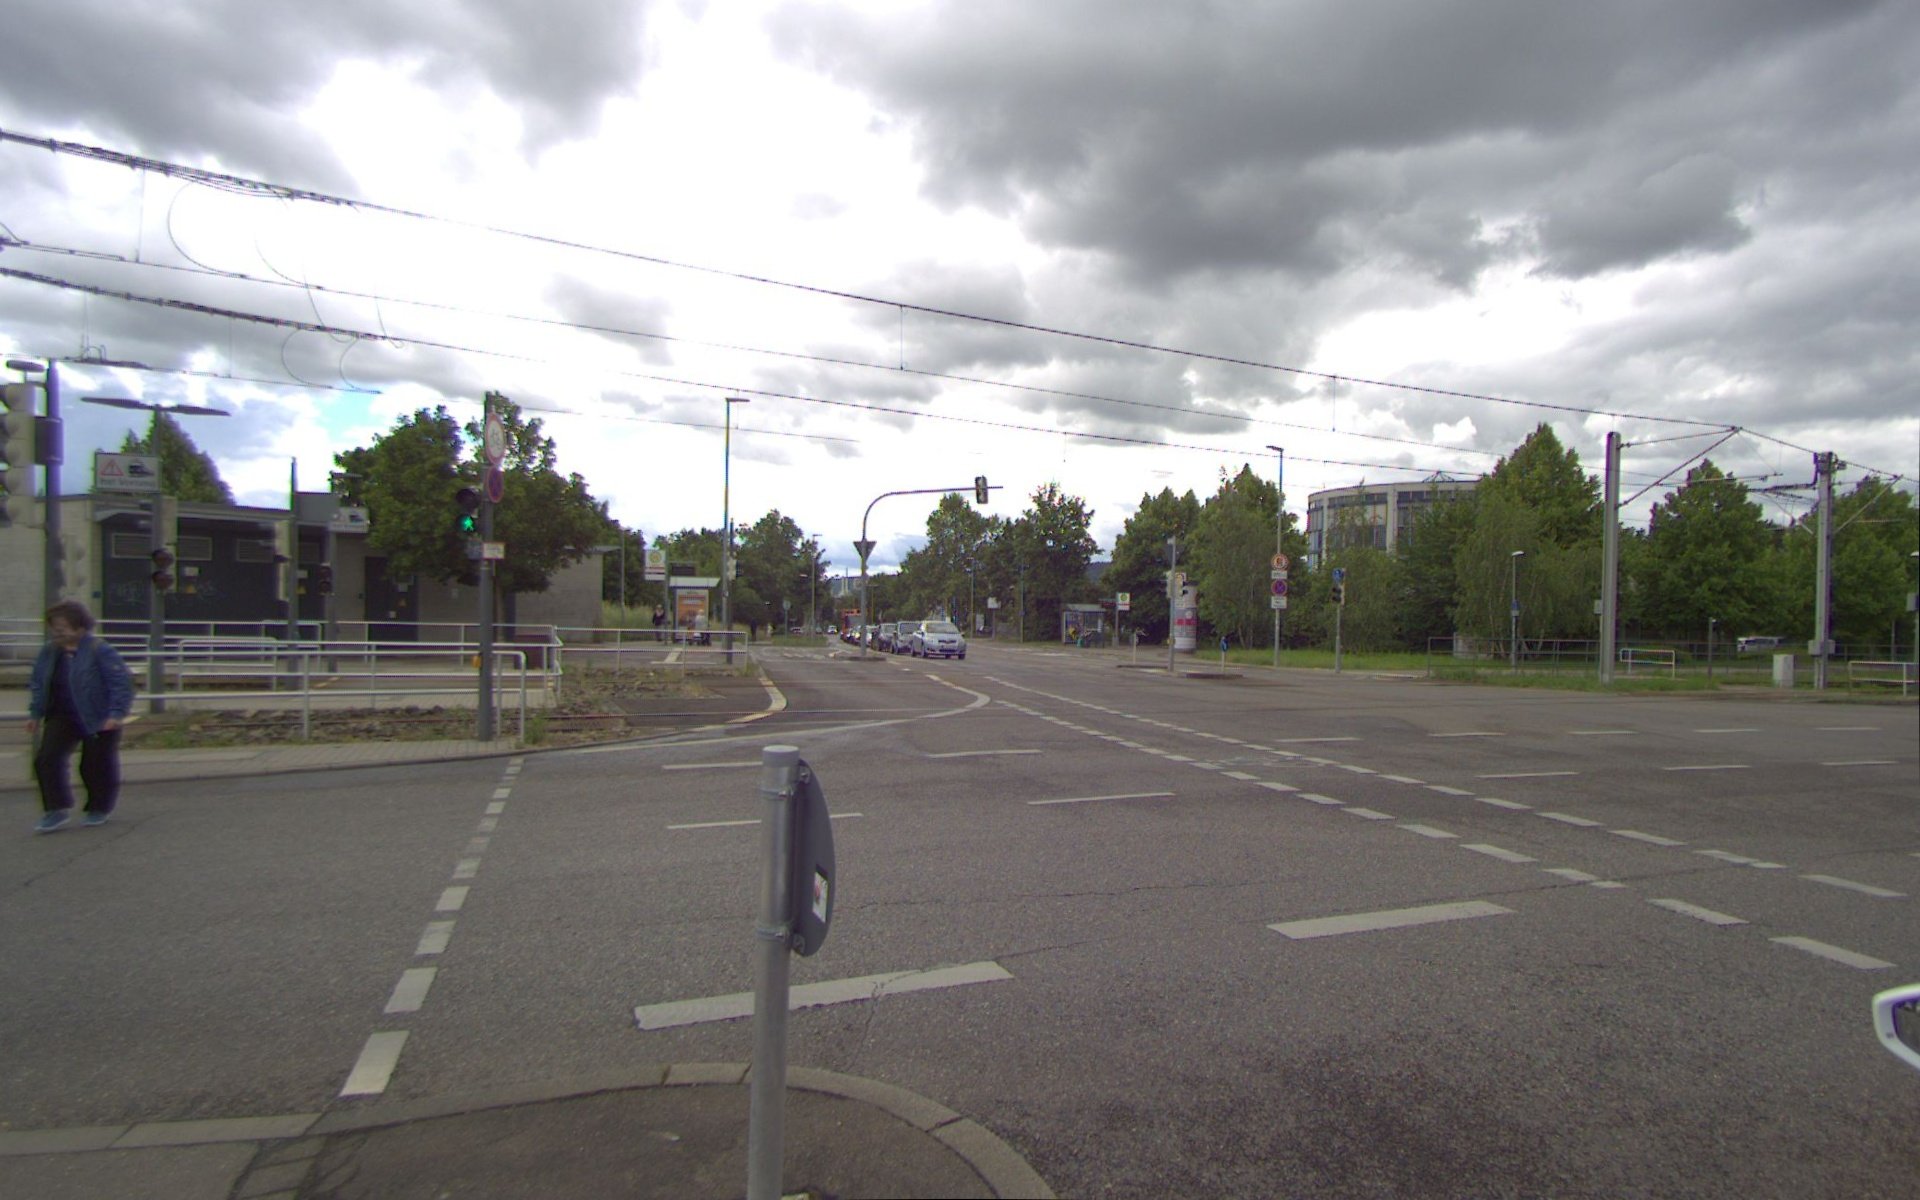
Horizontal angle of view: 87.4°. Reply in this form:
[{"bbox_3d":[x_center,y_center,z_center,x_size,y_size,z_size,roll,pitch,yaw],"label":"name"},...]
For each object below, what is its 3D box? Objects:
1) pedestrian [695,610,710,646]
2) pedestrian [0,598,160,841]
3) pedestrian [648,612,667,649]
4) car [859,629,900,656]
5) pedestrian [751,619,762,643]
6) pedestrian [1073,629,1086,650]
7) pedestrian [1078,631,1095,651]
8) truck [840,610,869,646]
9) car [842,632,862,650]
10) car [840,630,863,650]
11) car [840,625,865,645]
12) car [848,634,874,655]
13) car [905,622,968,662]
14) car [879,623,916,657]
[{"bbox_3d":[-10.077,1.084,39.287,0.542,1.381,0.771,1,-1,-16],"label":"pedestrian"},{"bbox_3d":[-6.009,0.772,6.804,0.660,1.550,0.713,2,-1,-17],"label":"pedestrian"},{"bbox_3d":[-13.972,1.411,46.420,0.540,1.692,0.638,1,-1,19],"label":"pedestrian"},{"bbox_3d":[-4.303,2.216,53.289,1.773,1.350,4.373,1,-2,-10],"label":"car"},{"bbox_3d":[-15.602,2.397,77.002,0.710,1.860,0.677,0,-1,-8],"label":"pedestrian"},{"bbox_3d":[7.864,2.592,65.886,0.717,1.333,0.588,1,-1,-7],"label":"pedestrian"},{"bbox_3d":[8.138,2.628,64.535,0.761,1.269,0.772,0,-2,40],"label":"pedestrian"},{"bbox_3d":[-11.057,2.946,105.018,2.664,3.533,9.983,1,-2,-8],"label":"truck"},{"bbox_3d":[-9.733,3.672,90.244,1.615,1.606,4.055,1,-2,-9],"label":"car"},{"bbox_3d":[-8.954,3.255,82.402,1.704,1.606,4.217,1,-2,-9],"label":"car"},{"bbox_3d":[-8.118,2.594,75.525,1.615,1.409,4.878,1,-2,-9],"label":"car"},{"bbox_3d":[-6.908,3.068,69.838,1.615,1.409,3.757,1,-2,-9],"label":"car"},{"bbox_3d":[-1.022,1.698,41.276,1.801,1.556,4.210,1,-2,-12],"label":"car"},{"bbox_3d":[-2.973,1.882,47.608,1.407,1.547,2.770,1,-1,-11],"label":"car"}]
